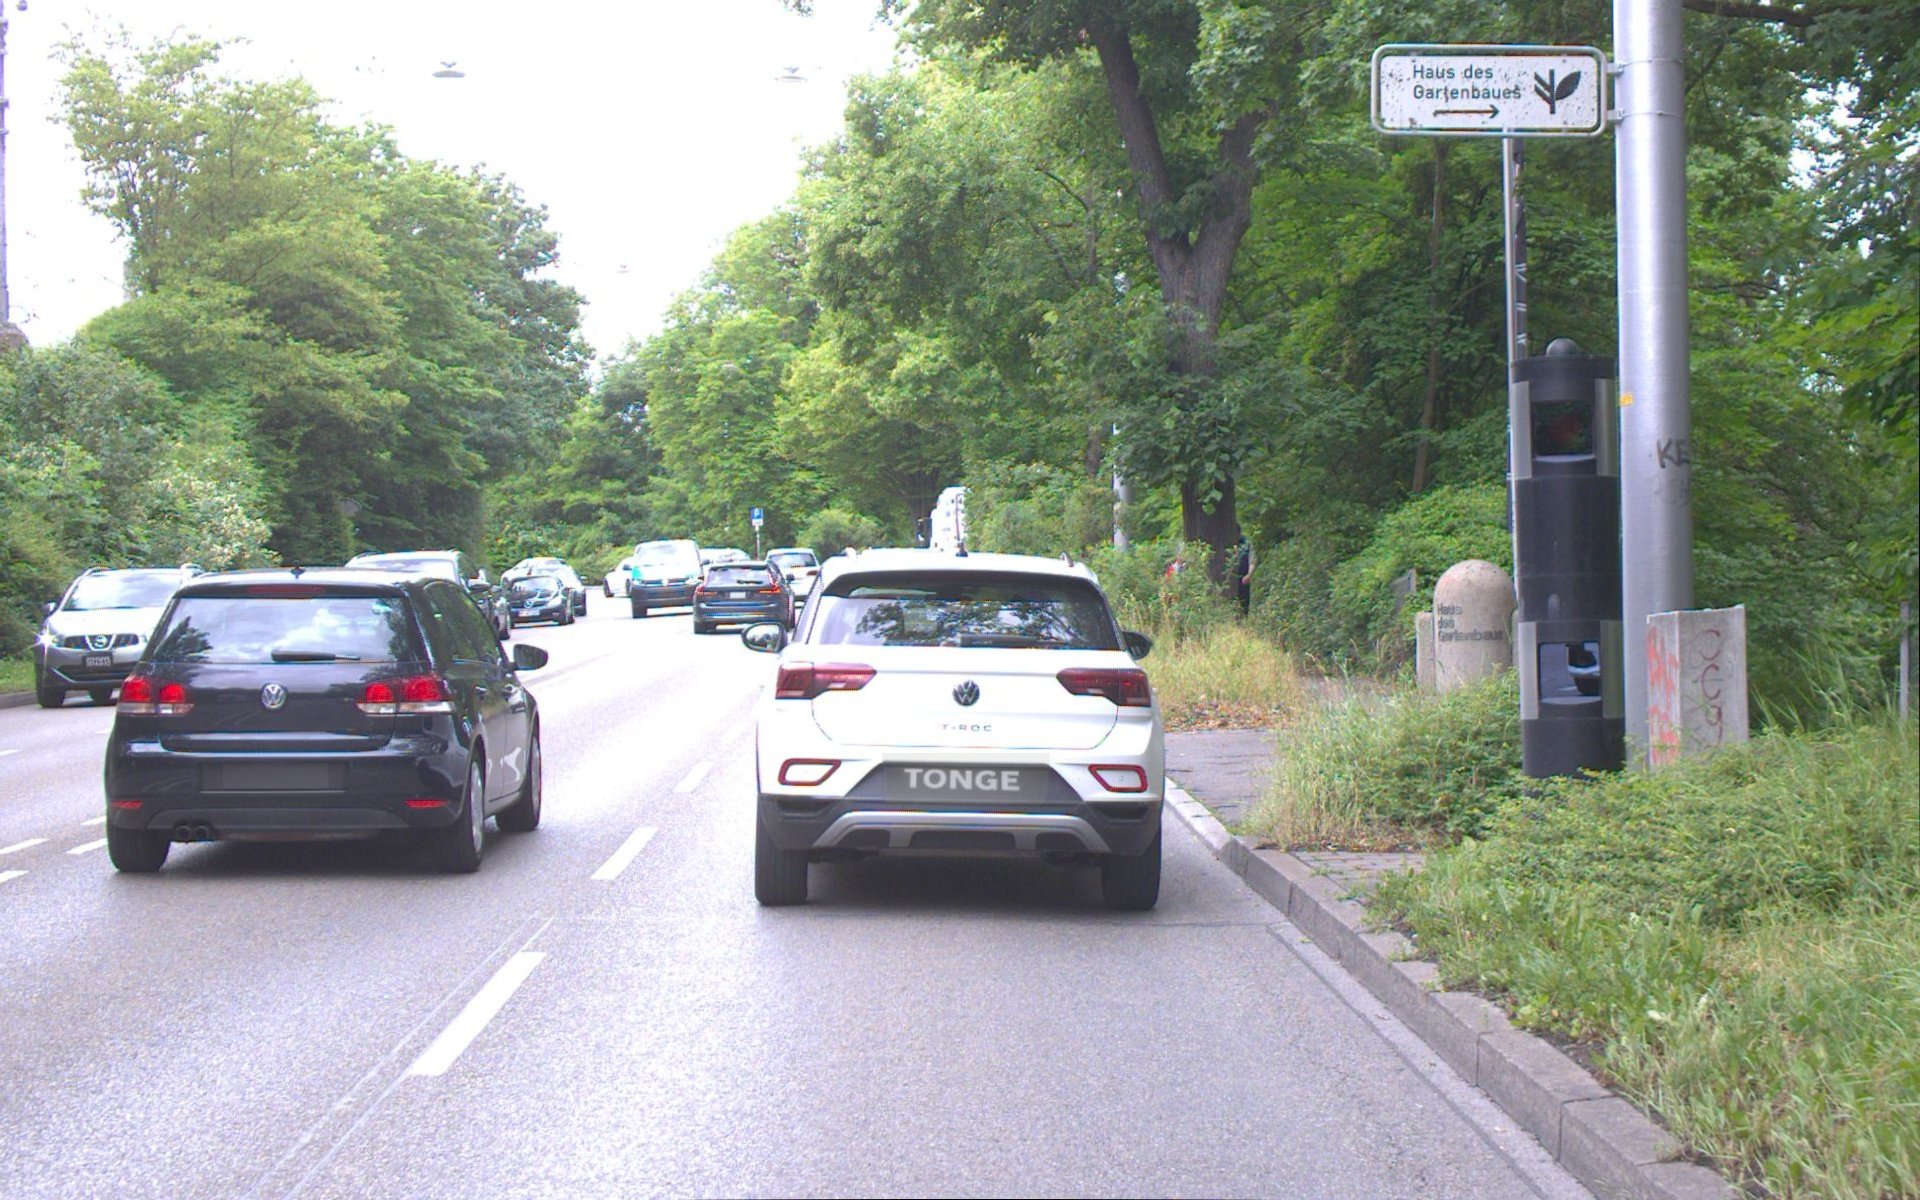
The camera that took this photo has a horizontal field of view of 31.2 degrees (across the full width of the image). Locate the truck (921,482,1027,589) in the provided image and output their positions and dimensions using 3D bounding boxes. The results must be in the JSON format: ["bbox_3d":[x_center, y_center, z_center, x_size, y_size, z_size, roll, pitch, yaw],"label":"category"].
[{"bbox_3d":[0.385,-1.971,107.245,2.481,3.171,7.230,1,0,-6],"label":"truck"}]

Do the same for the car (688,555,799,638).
[{"bbox_3d":[-4.261,-0.083,68.235,1.993,1.586,4.000,1,0,-1],"label":"car"}]

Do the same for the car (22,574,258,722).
[{"bbox_3d":[-9.717,0.525,41.033,1.791,1.606,4.190,-2,0,0],"label":"car"}]

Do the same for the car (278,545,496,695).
[{"bbox_3d":[-6.807,0.244,41.287,1.810,1.656,4.830,-1,0,0],"label":"car"}]

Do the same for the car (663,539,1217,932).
[{"bbox_3d":[-0.241,0.541,16.042,2.000,1.590,4.001,1,0,-9],"label":"car"}]

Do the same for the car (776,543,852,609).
[{"bbox_3d":[-3.712,-0.605,87.785,1.821,1.617,4.000,1,0,-1],"label":"car"}]

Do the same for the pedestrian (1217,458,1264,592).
[{"bbox_3d":[3.697,-0.988,45.337,0.519,1.747,0.525,1,0,-4],"label":"pedestrian"}]

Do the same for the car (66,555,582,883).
[{"bbox_3d":[-3.101,0.525,17.586,1.949,1.461,4.000,1,0,-1],"label":"car"}]

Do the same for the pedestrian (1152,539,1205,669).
[{"bbox_3d":[2.872,0.050,45.210,0.608,1.692,0.549,1,0,-4],"label":"pedestrian"}]

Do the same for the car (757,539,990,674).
[{"bbox_3d":[-1.251,0.051,47.751,1.851,1.697,4.001,-4,2,-22],"label":"car"}]

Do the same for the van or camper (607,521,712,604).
[{"bbox_3d":[-7.962,-0.955,90.632,1.993,2.007,5.370,-4,1,-12],"label":"van or camper"}]
